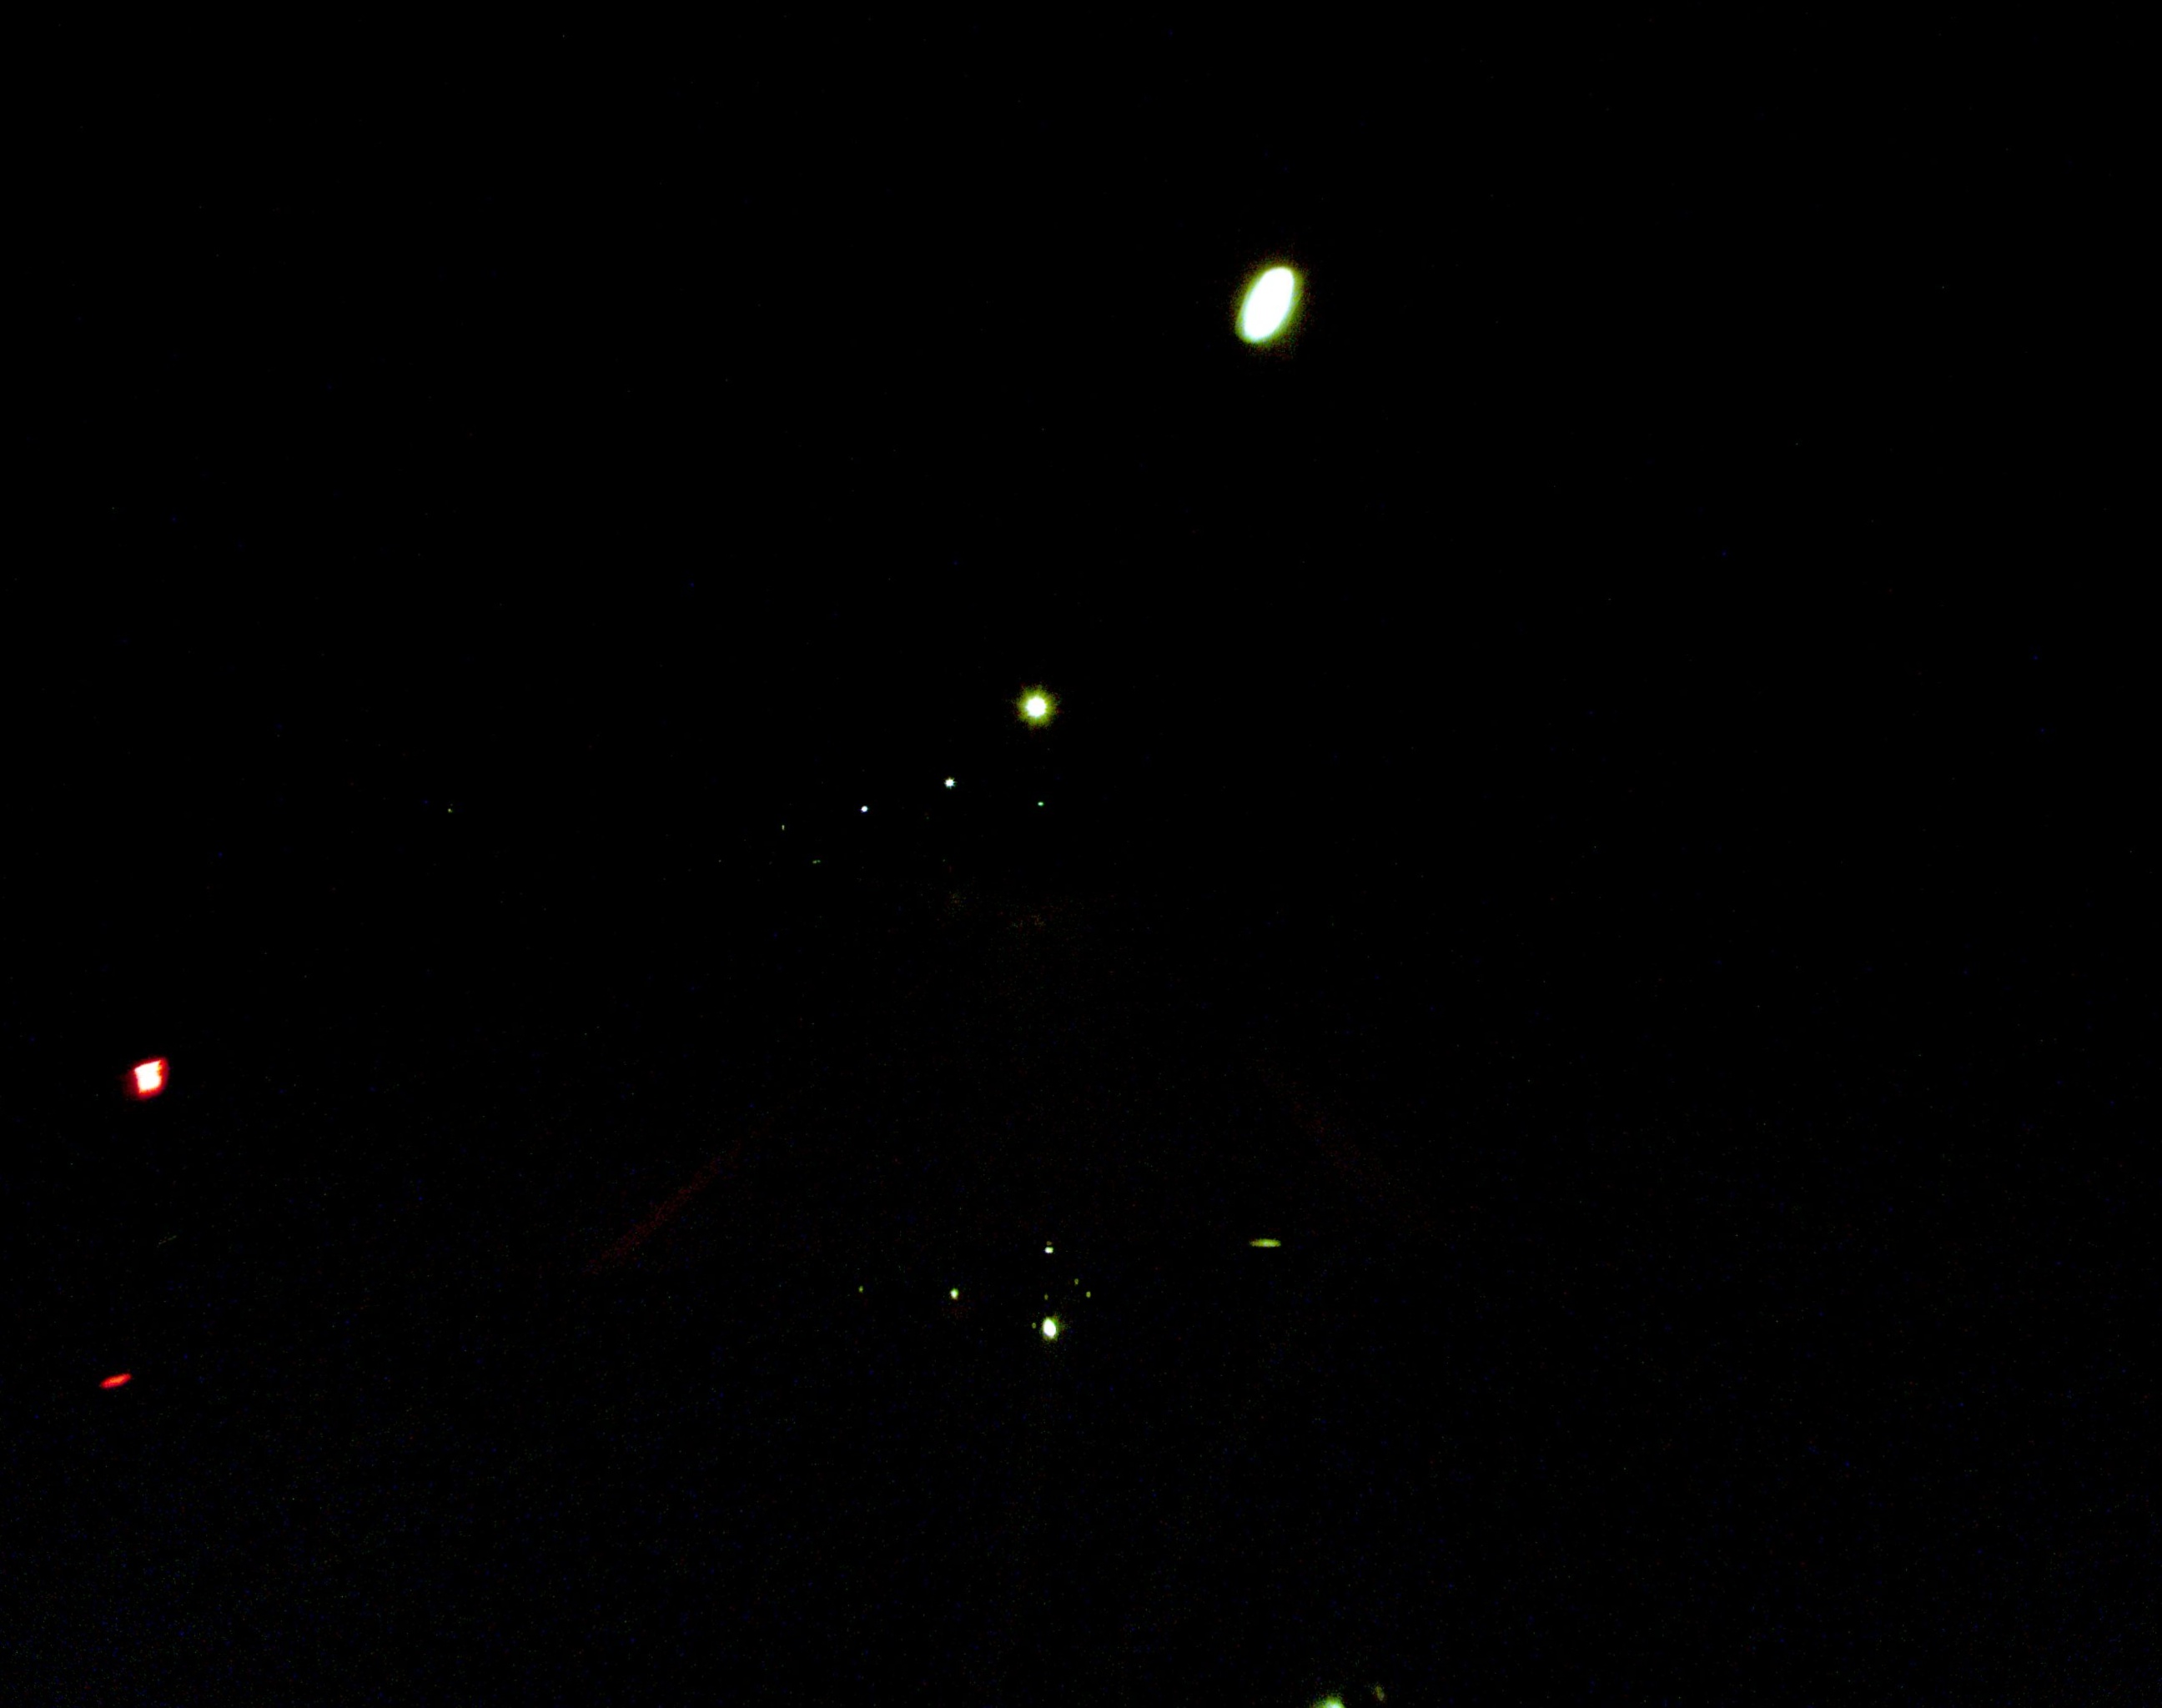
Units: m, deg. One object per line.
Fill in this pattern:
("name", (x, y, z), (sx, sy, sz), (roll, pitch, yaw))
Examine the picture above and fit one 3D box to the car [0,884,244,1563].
("car", (-3.414, 0.934, 0.207), (1.674, 1.601, 4.228), (-2, 0, -1))
